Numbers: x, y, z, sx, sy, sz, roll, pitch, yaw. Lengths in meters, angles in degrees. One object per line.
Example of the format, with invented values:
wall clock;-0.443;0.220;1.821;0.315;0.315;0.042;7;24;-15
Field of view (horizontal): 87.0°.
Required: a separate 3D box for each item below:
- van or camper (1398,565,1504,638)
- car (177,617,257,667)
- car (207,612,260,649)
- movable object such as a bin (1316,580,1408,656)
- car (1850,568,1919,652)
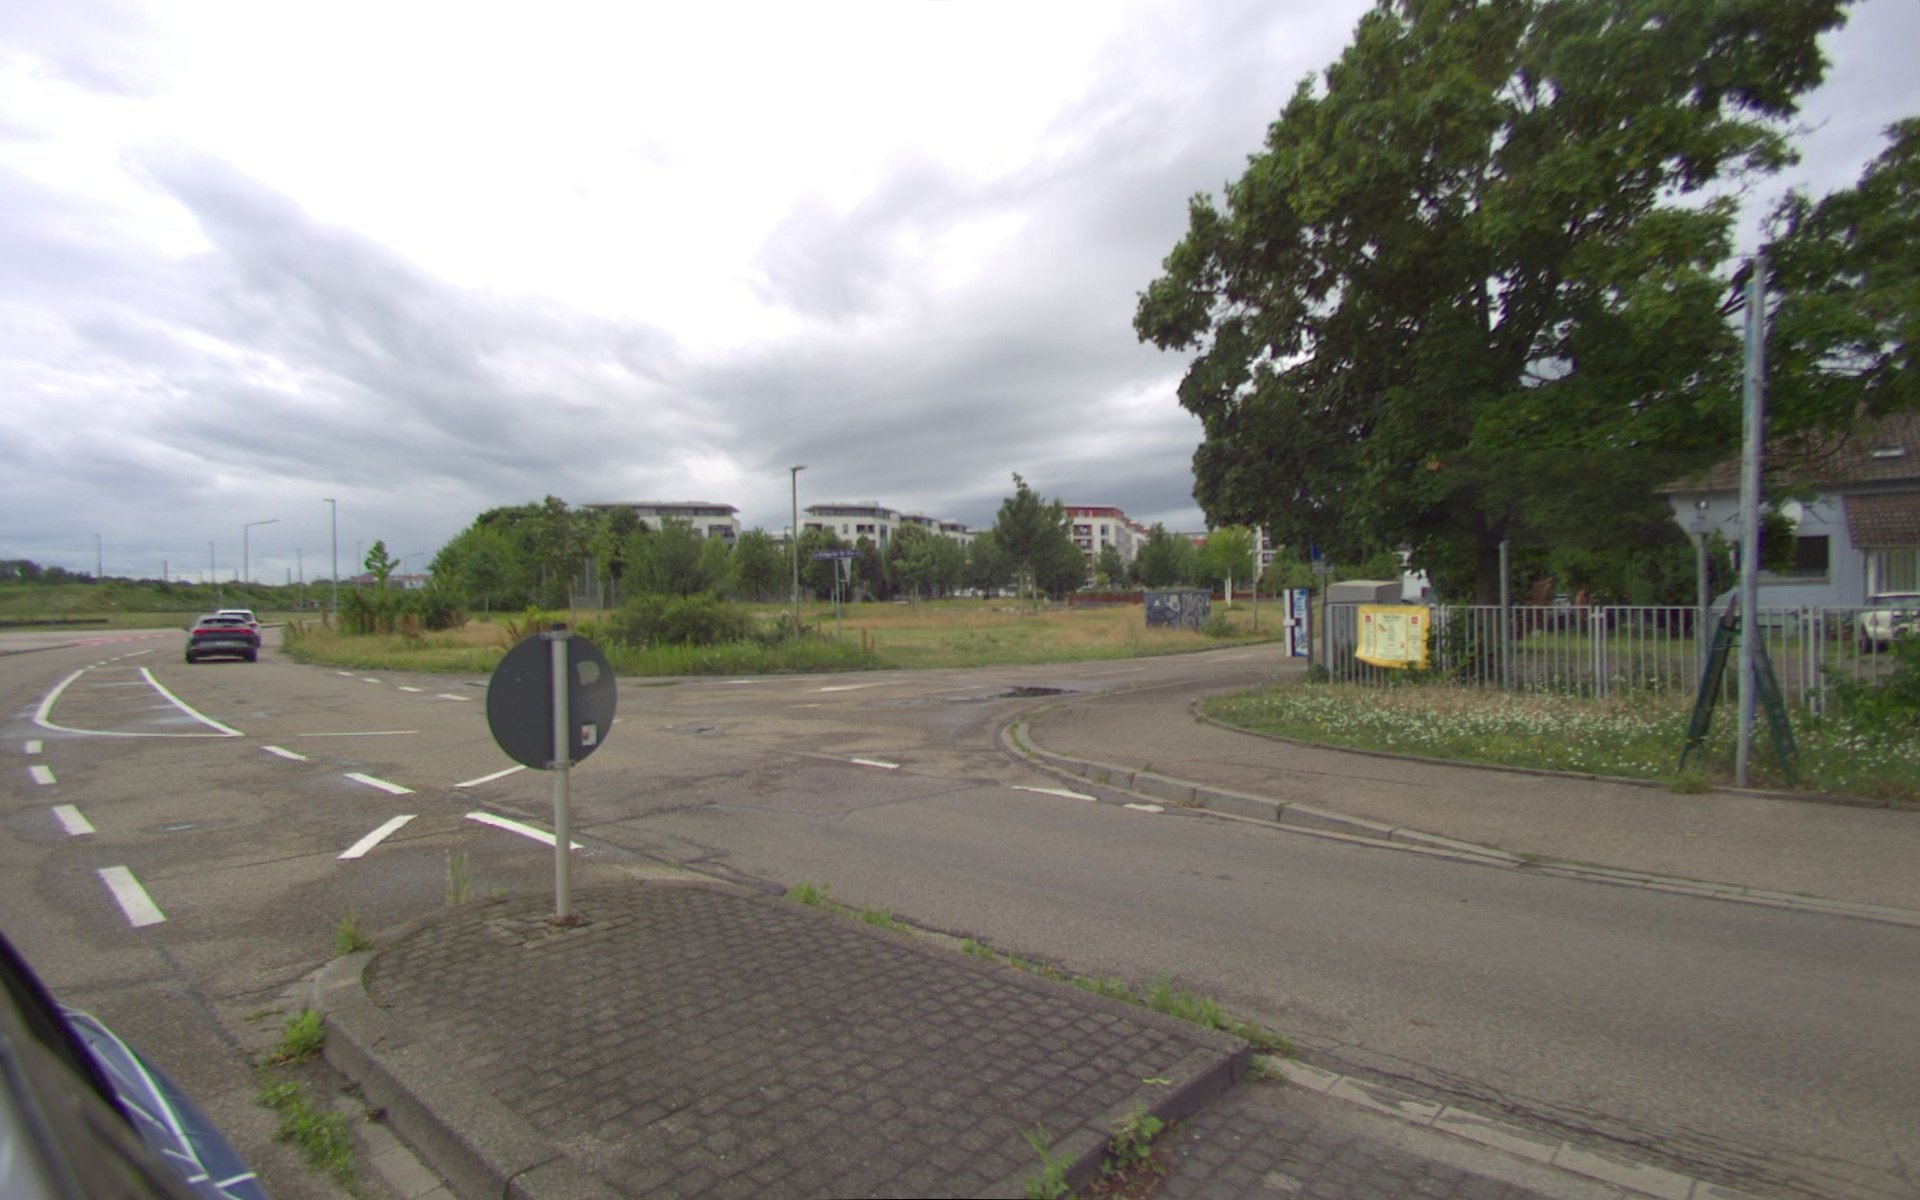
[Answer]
van or camper;19.075;0.063;39.203;2.520;2.608;5.071;-1;-1;40
car;-24.088;1.314;32.769;1.717;1.464;4.005;0;-1;-42
car;-32.699;1.356;45.499;1.814;1.548;4.009;-1;-1;-37
movable object such as a bin;11.668;0.485;29.331;1.682;2.075;2.749;1;1;40
car;22.045;0.213;23.530;1.999;1.818;3.945;-1;-1;41
